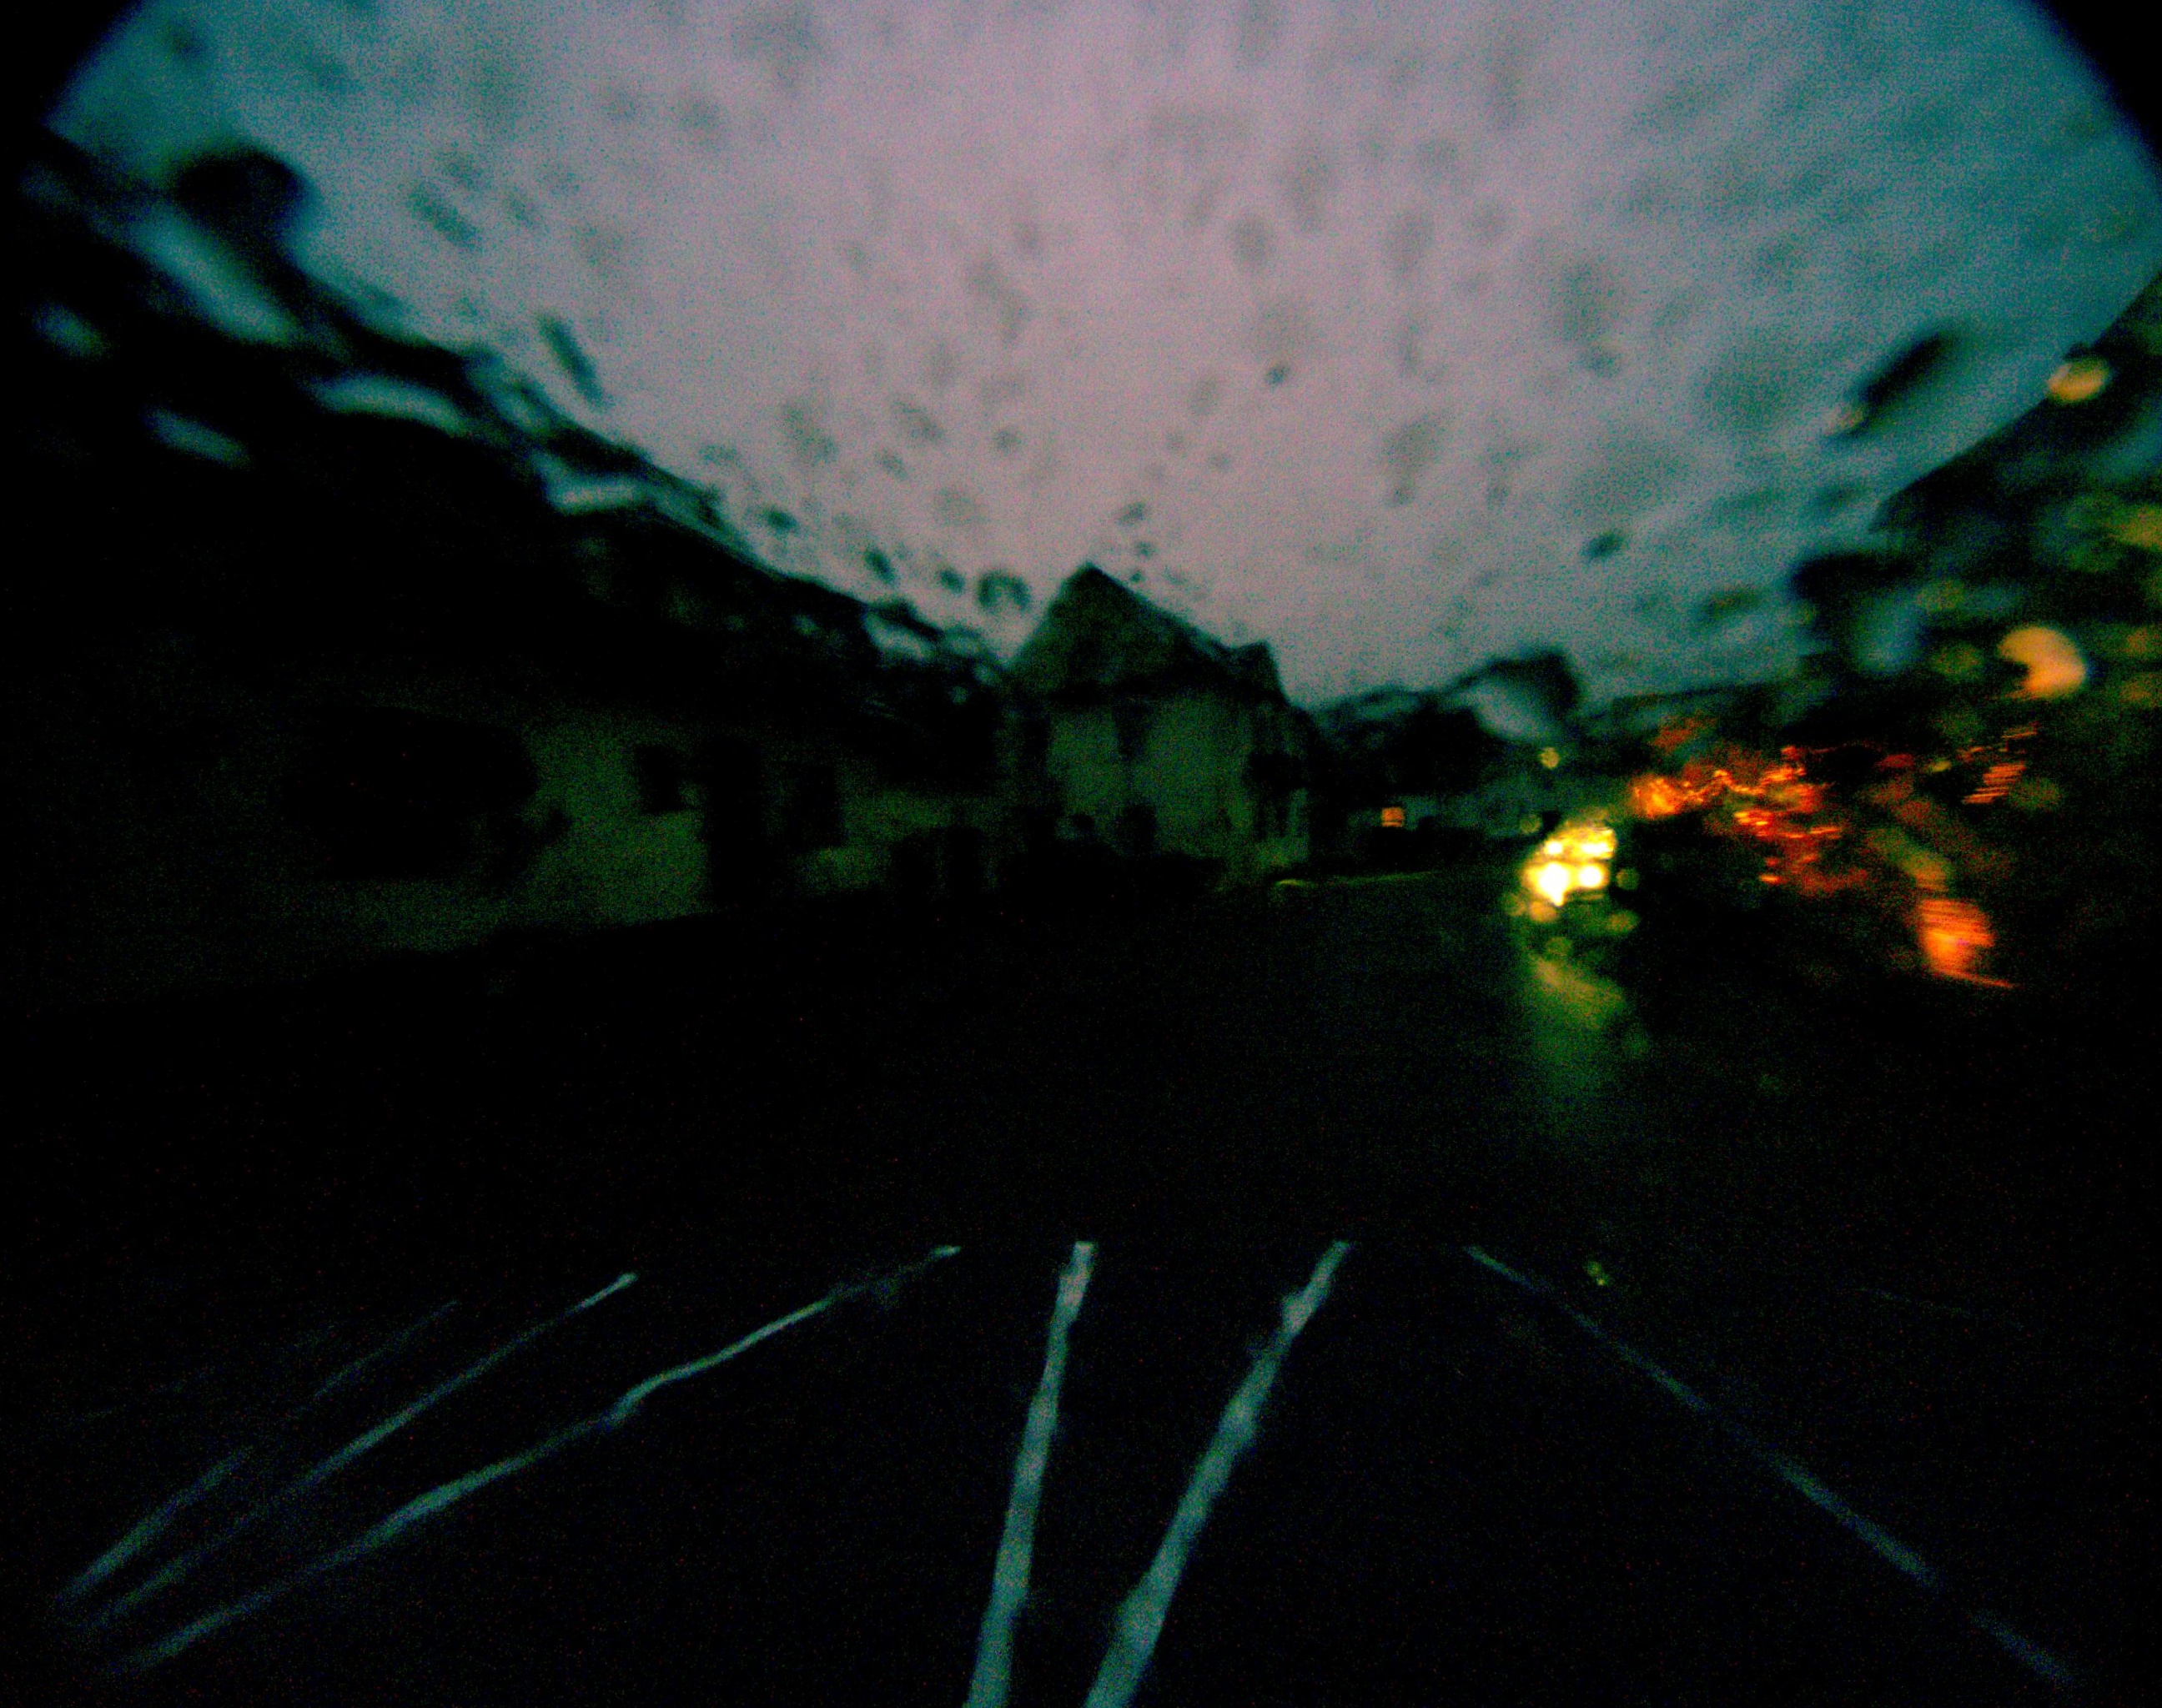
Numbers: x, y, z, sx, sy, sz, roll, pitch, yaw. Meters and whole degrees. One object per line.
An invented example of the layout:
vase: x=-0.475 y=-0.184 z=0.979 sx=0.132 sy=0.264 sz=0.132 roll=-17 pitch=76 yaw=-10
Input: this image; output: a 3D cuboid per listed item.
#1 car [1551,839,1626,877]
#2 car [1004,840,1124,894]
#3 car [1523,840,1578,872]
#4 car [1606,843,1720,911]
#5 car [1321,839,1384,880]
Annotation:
car: x=24.467 y=0.166 z=36.563 sx=4.243 sy=1.549 sz=1.987 roll=-4 pitch=1 yaw=-42
car: x=-0.571 y=0.357 z=23.939 sx=3.480 sy=1.498 sz=1.652 roll=2 pitch=3 yaw=36
car: x=25.346 y=0.098 z=40.925 sx=1.639 sy=1.485 sz=4.007 roll=-3 pitch=1 yaw=44
car: x=15.010 y=0.538 z=19.528 sx=3.810 sy=1.413 sz=1.620 roll=-4 pitch=2 yaw=-42
car: x=12.184 y=0.190 z=33.905 sx=1.807 sy=1.479 sz=4.284 roll=1 pitch=4 yaw=31
